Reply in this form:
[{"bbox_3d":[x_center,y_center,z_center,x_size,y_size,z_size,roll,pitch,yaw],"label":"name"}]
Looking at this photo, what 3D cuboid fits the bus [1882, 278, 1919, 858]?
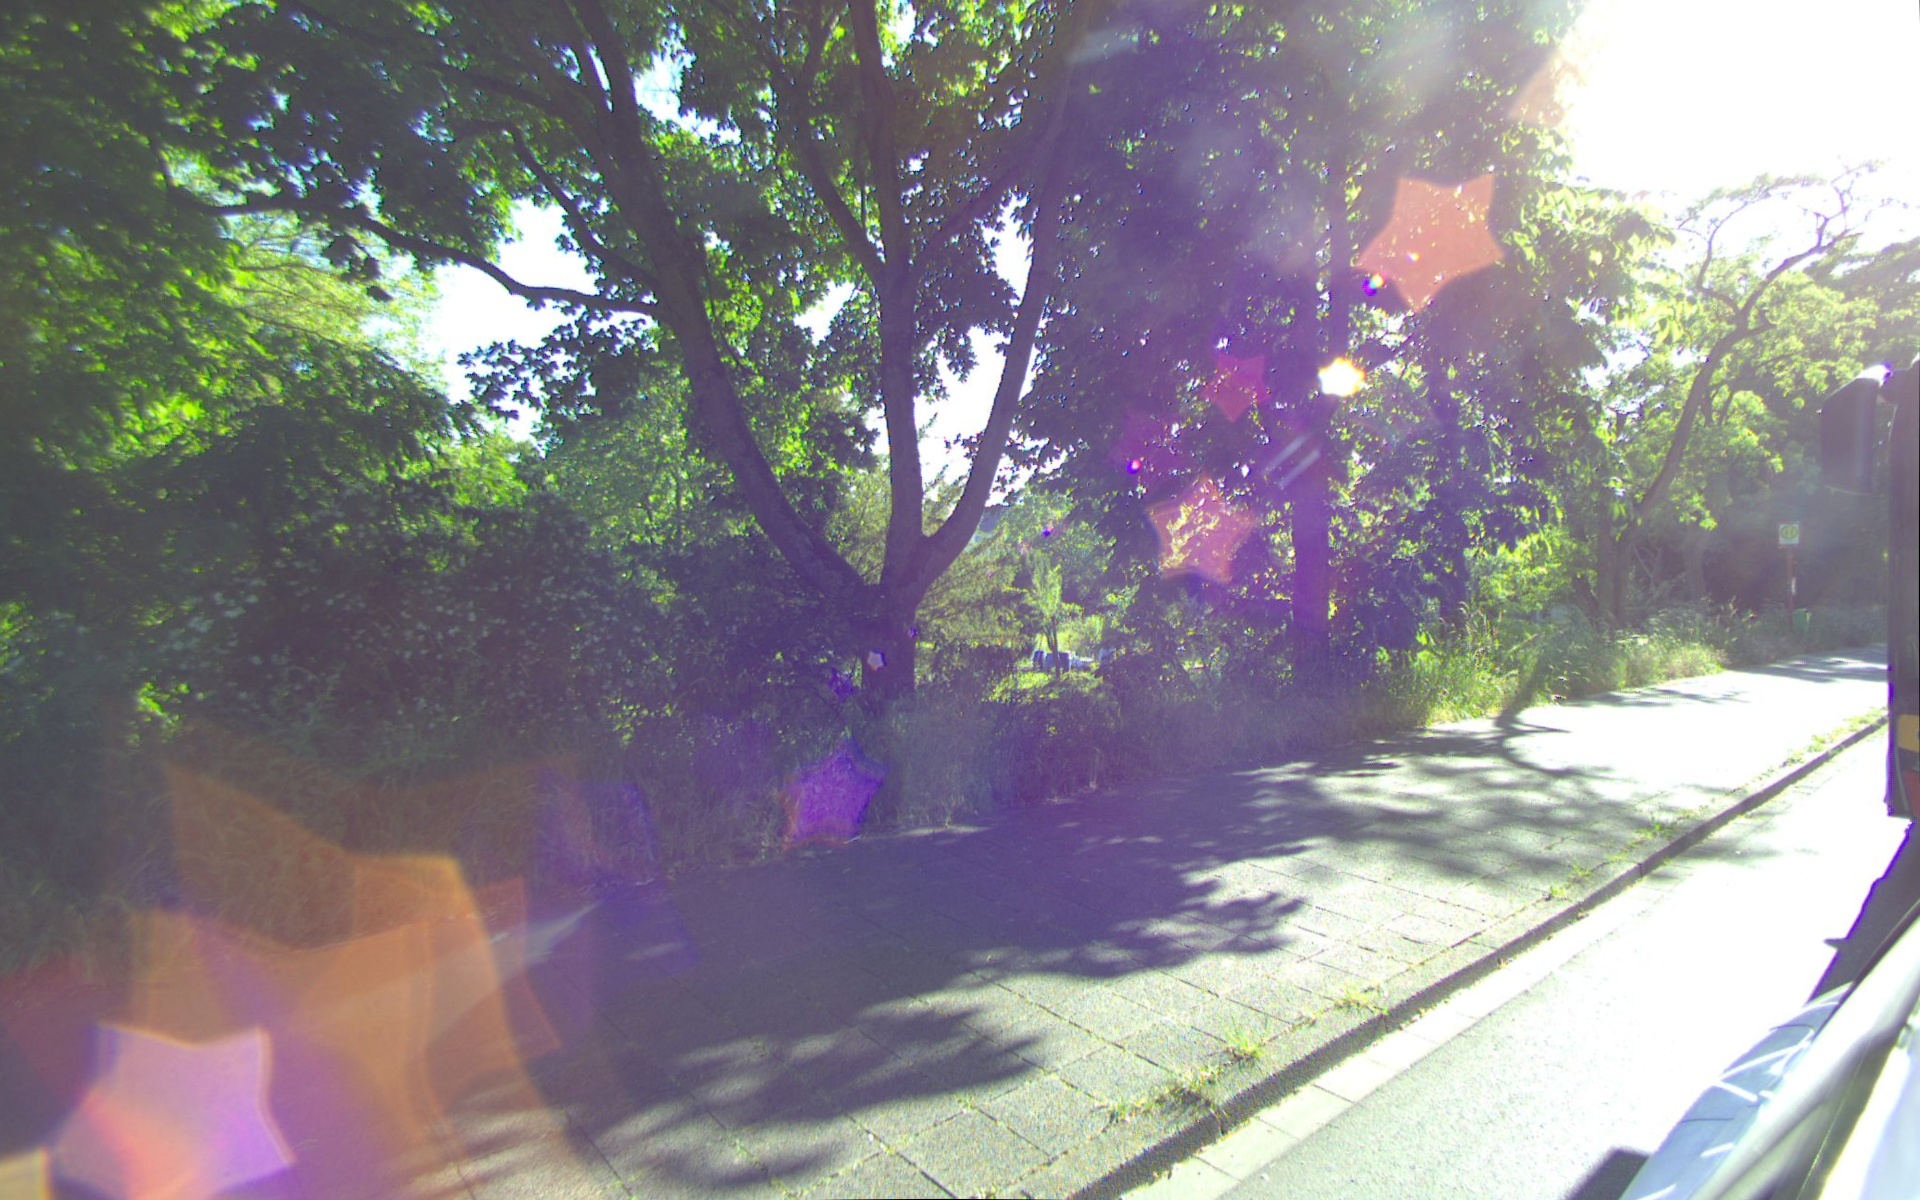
[{"bbox_3d":[10.499,-0.180,8.602,12.674,3.021,2.786,0,0,-42],"label":"bus"}]
